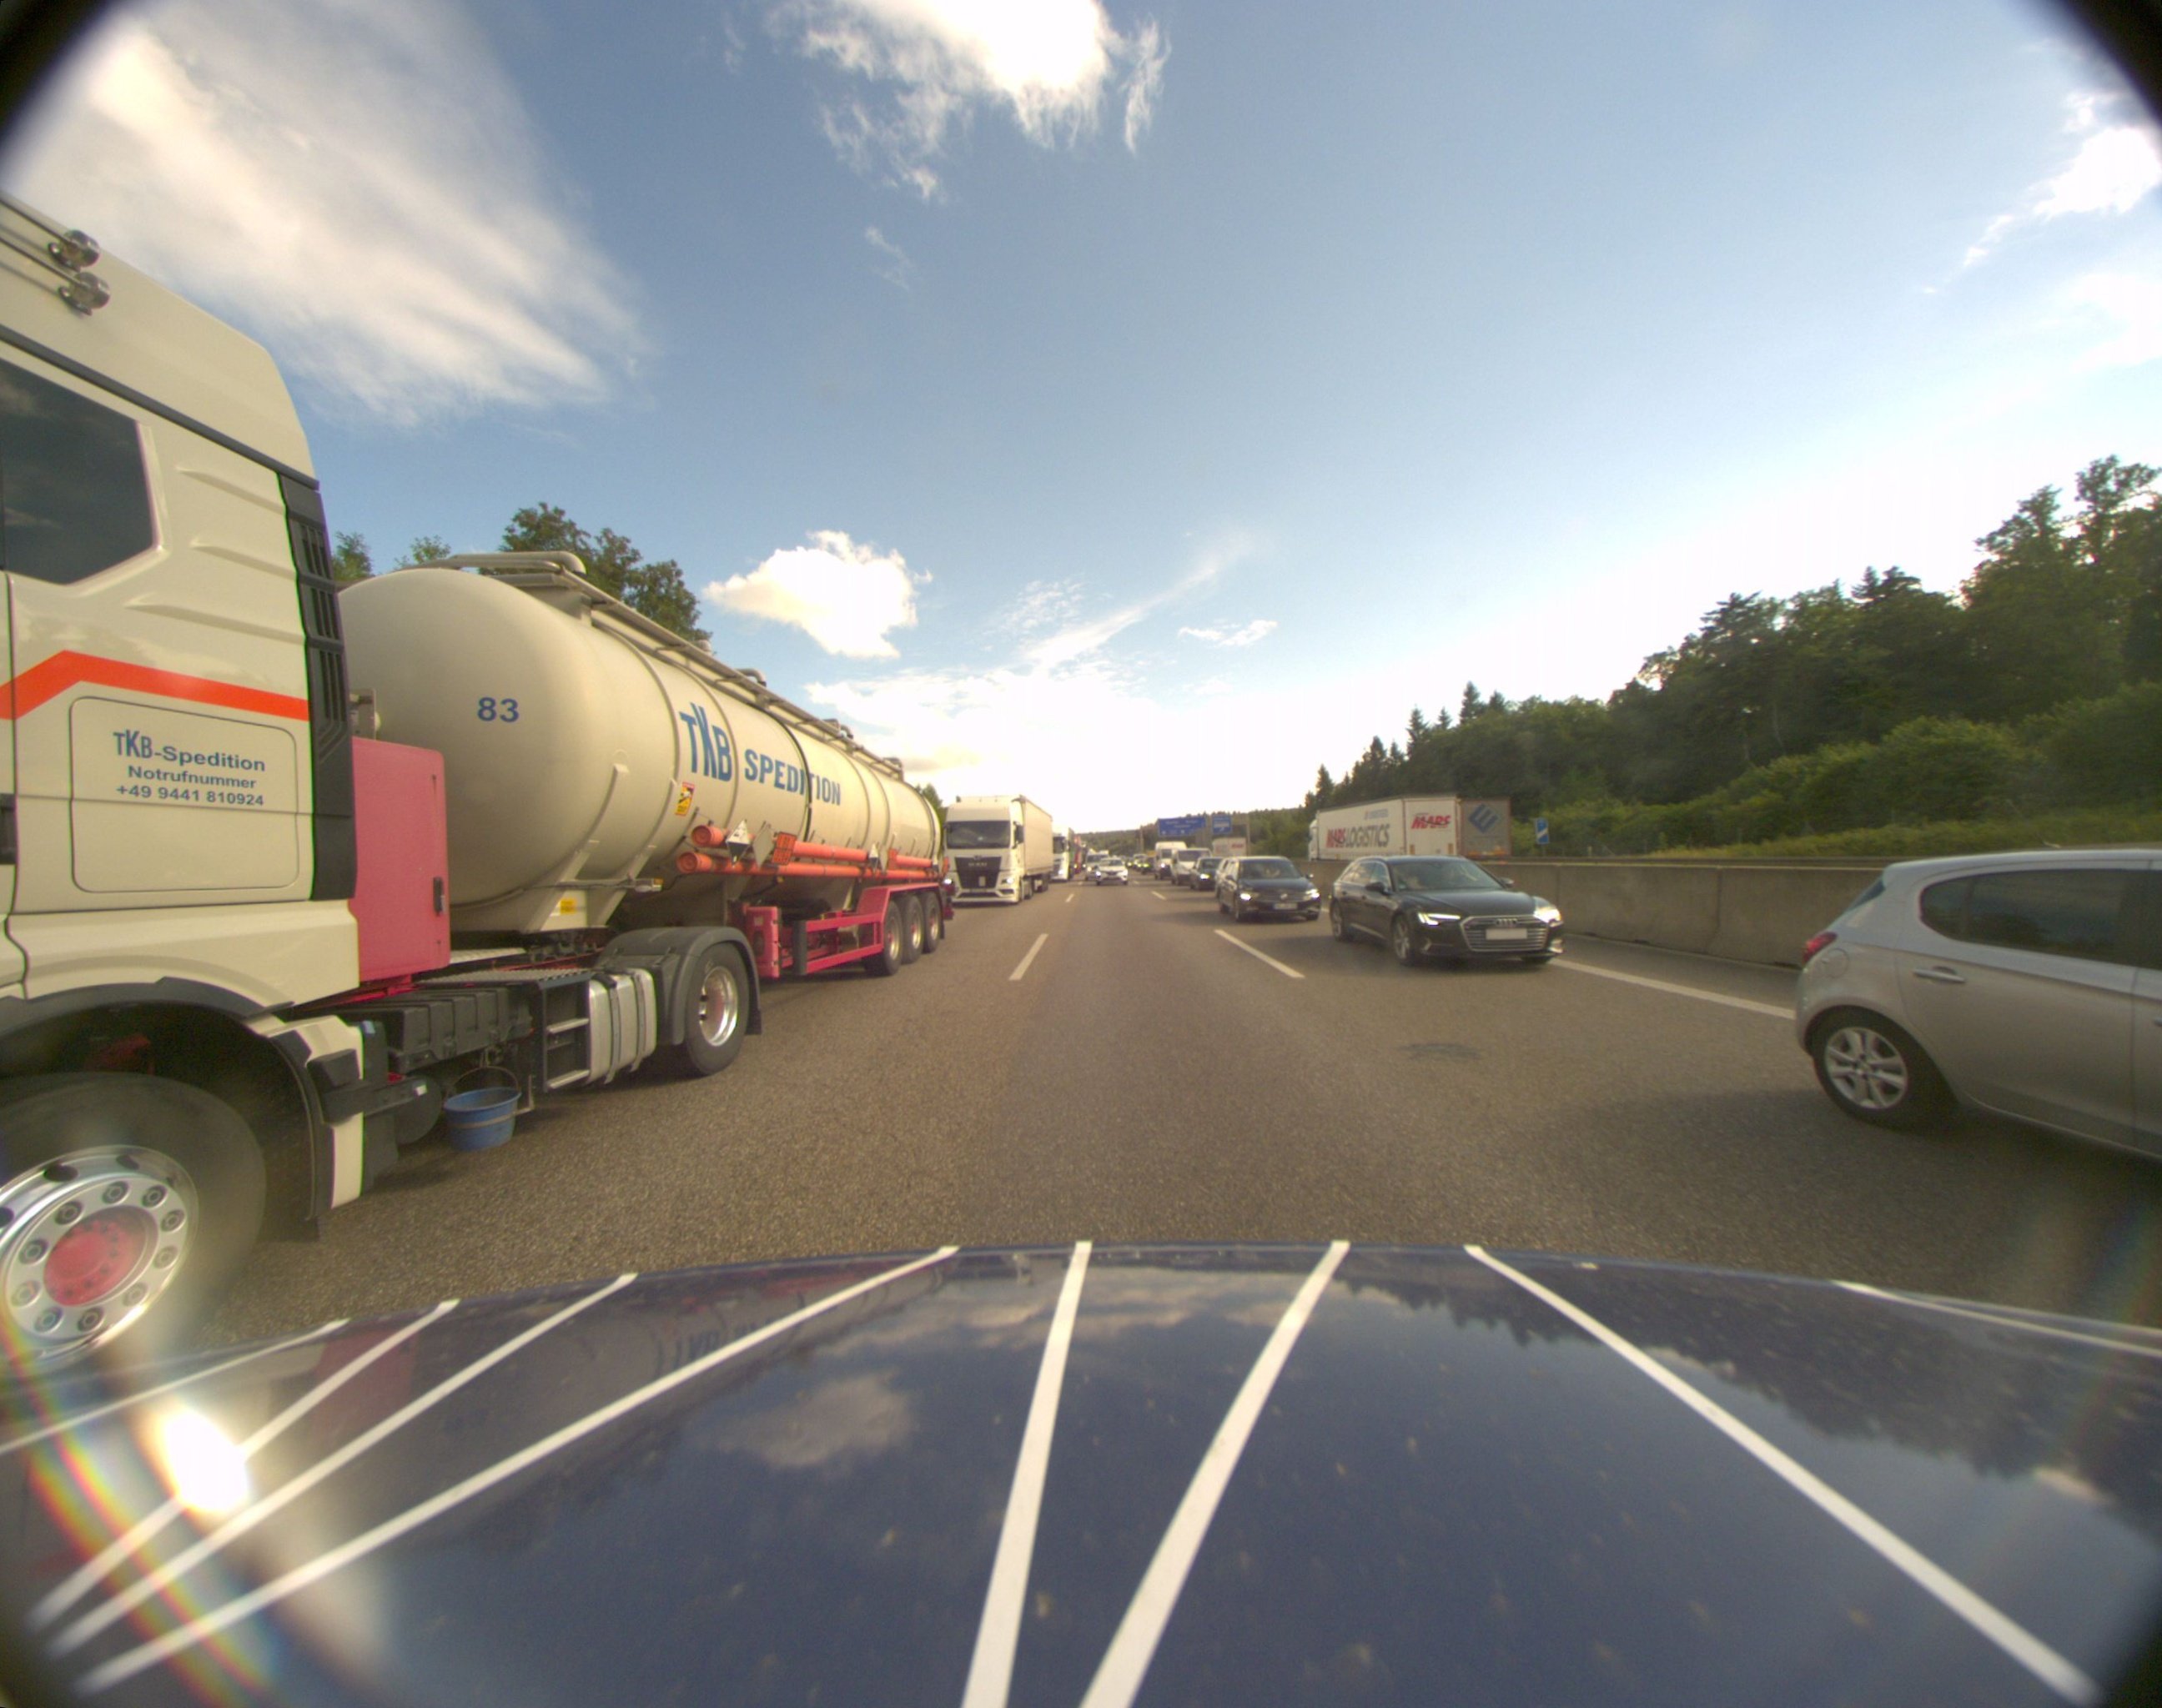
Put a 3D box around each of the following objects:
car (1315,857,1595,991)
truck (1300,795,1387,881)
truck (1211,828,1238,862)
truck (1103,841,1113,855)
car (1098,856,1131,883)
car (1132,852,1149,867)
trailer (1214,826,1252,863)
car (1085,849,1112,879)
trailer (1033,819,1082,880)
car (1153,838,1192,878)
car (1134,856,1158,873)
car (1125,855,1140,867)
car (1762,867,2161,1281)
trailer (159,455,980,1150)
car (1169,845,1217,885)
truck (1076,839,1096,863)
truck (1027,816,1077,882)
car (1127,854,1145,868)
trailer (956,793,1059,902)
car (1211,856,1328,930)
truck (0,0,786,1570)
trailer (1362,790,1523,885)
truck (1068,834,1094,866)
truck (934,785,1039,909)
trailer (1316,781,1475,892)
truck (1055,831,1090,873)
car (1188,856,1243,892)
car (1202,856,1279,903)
[{"bbox_3d":[5.082,0.833,11.251,1.887,1.463,4.852,-2,0,2],"label":"car"},{"bbox_3d":[16.815,-0.992,49.241,3.096,5.071,7.141,-2,1,1],"label":"truck"},{"bbox_3d":[23.050,-1.456,122.428,3.047,5.222,6.883,-2,1,1],"label":"truck"},{"bbox_3d":[8.927,-1.996,248.822,2.840,4.178,12.046,-2,1,3],"label":"truck"},{"bbox_3d":[1.931,0.877,44.852,1.809,1.487,4.667,-1,0,2],"label":"car"},{"bbox_3d":[7.615,0.690,97.543,1.920,1.785,3.811,-2,0,2],"label":"car"},{"bbox_3d":[22.938,-1.396,115.746,3.049,5.250,13.834,-2,1,1],"label":"trailer"},{"bbox_3d":[1.290,0.692,54.862,1.809,2.052,4.770,-2,0,2],"label":"car"},{"bbox_3d":[-1.632,-0.313,59.759,2.841,4.177,13.614,-2,0,2],"label":"trailer"},{"bbox_3d":[6.182,0.264,52.009,2.054,2.557,5.862,-1,0,2],"label":"car"},{"bbox_3d":[5.689,0.913,67.000,1.809,1.423,3.660,-2,0,2],"label":"car"},{"bbox_3d":[7.156,0.932,106.479,1.920,1.535,3.811,-2,0,2],"label":"car"},{"bbox_3d":[4.801,0.815,2.384,1.751,1.457,4.041,-1,0,1],"label":"car"},{"bbox_3d":[-3.761,-0.291,10.056,2.805,4.003,11.183,-2,0,2],"label":"trailer"},{"bbox_3d":[5.985,0.543,41.027,1.947,1.953,4.848,-2,0,2],"label":"car"},{"bbox_3d":[1.054,-0.585,136.197,2.840,4.178,12.046,-2,1,3],"label":"truck"},{"bbox_3d":[-1.893,-0.303,52.341,2.841,4.177,5.708,-2,0,2],"label":"truck"},{"bbox_3d":[6.003,0.732,83.200,1.809,1.423,3.660,-2,0,2],"label":"car"},{"bbox_3d":[-2.985,-0.285,35.433,2.832,4.047,13.373,-2,0,2],"label":"trailer"},{"bbox_3d":[4.365,0.833,18.278,1.915,1.469,4.569,-2,0,4],"label":"car"},{"bbox_3d":[-4.026,-0.235,3.376,2.809,4.020,5.904,-2,0,2],"label":"truck"},{"bbox_3d":[21.362,-0.932,46.510,2.934,4.802,14.652,-2,1,1],"label":"trailer"},{"bbox_3d":[0.082,-0.546,107.876,2.840,4.178,12.046,-2,1,3],"label":"truck"},{"bbox_3d":[-3.286,-0.237,28.115,2.840,4.048,5.708,-2,0,2],"label":"truck"},{"bbox_3d":[16.728,-0.858,42.186,3.096,5.044,13.833,-2,1,1],"label":"trailer"},{"bbox_3d":[-0.830,-0.260,83.244,2.840,4.178,12.046,-2,1,3],"label":"truck"},{"bbox_3d":[5.847,0.835,33.444,1.809,1.423,3.994,-2,0,2],"label":"car"},{"bbox_3d":[5.507,0.815,26.773,1.809,1.423,4.667,-2,0,2],"label":"car"}]
